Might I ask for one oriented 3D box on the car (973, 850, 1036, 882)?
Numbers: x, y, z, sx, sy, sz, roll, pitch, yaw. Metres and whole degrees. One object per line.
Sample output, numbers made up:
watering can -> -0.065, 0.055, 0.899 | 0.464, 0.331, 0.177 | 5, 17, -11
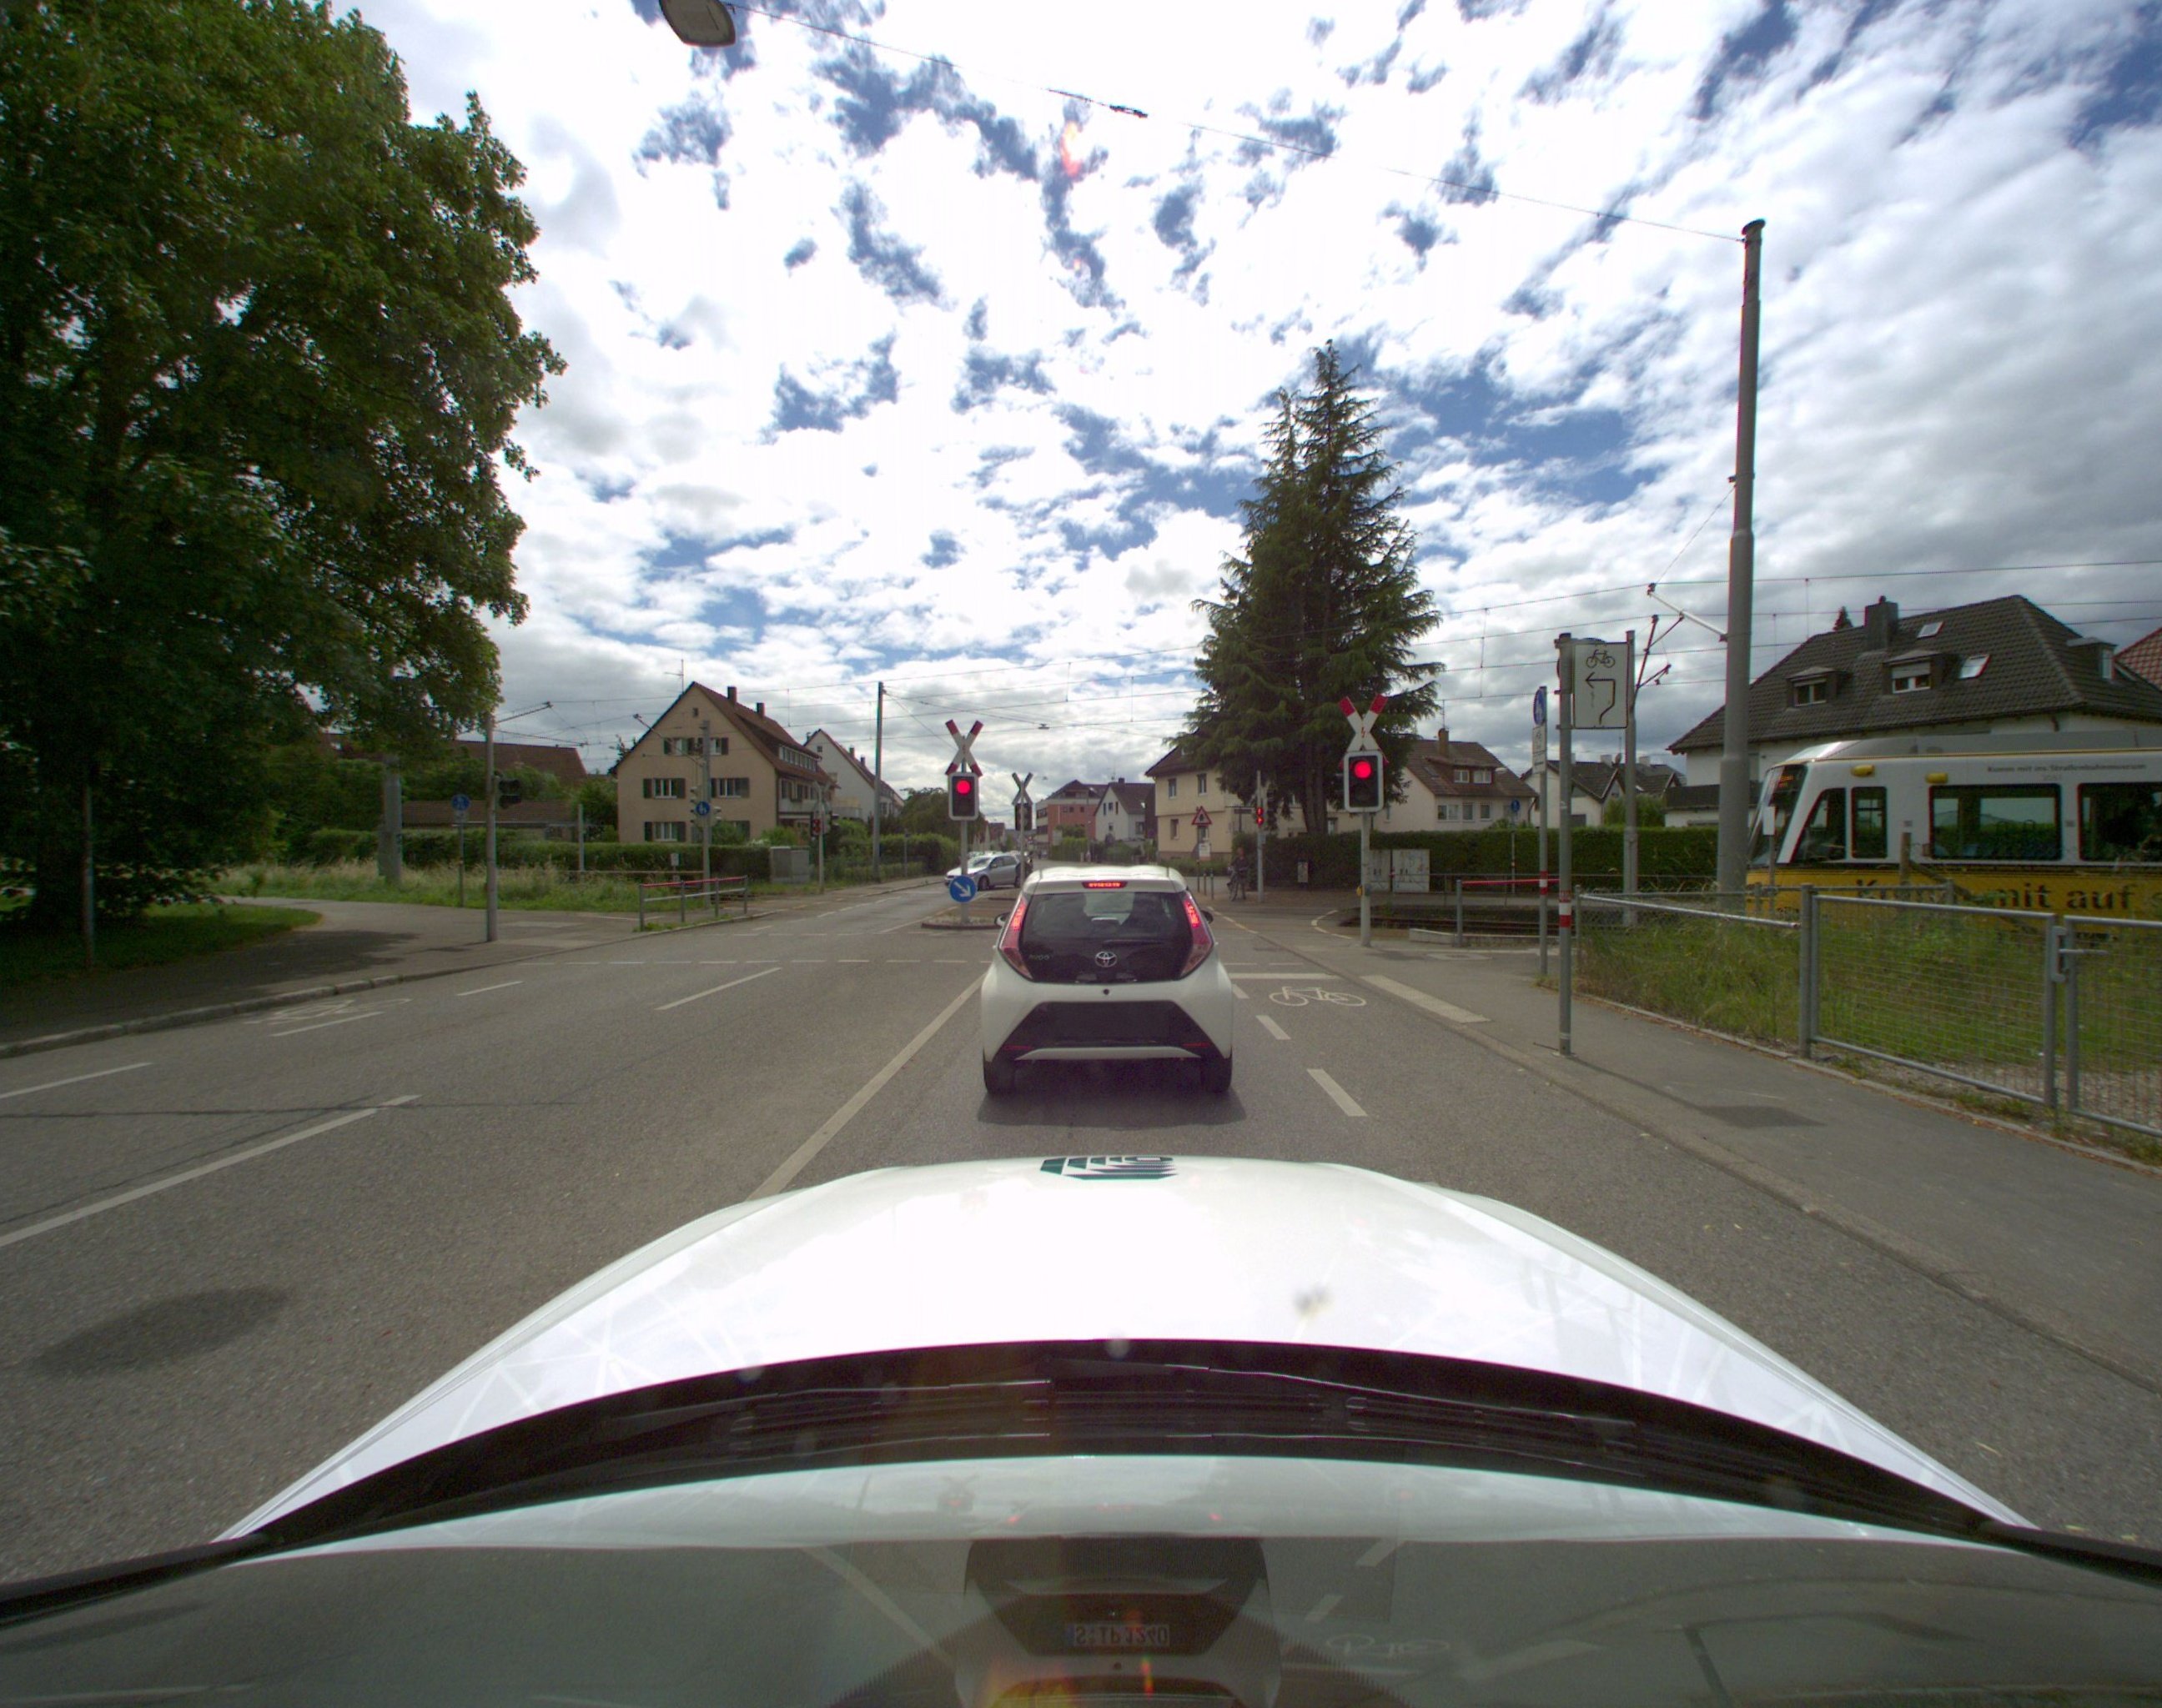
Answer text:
car -> -3.801, 0.594, 40.829 | 1.560, 1.510, 2.804 | 0, -1, 44

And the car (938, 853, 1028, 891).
car -> -4.102, 0.727, 34.687 | 1.672, 1.458, 4.095 | -1, 0, 30

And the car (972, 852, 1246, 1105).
car -> 0.229, 0.759, 6.851 | 1.615, 1.486, 4.001 | -1, -1, 2

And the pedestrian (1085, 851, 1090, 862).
pedestrian -> 0.827, 0.299, 99.579 | 0.409, 1.437, 0.440 | 0, 0, 32

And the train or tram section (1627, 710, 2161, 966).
train or tram section -> 14.246, -0.251, 14.076 | 7.622, 3.721, 2.886 | 1, 0, 24

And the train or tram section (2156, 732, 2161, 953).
train or tram section -> 21.148, -0.154, 10.959 | 7.622, 3.721, 2.886 | 1, 0, 24

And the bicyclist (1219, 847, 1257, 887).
bicyclist -> 5.071, 0.425, 26.259 | 0.923, 1.247, 1.108 | -2, 0, 23

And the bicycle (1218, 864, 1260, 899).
bicycle -> 5.119, 0.872, 26.347 | 0.923, 1.040, 1.925 | -2, 0, 23
